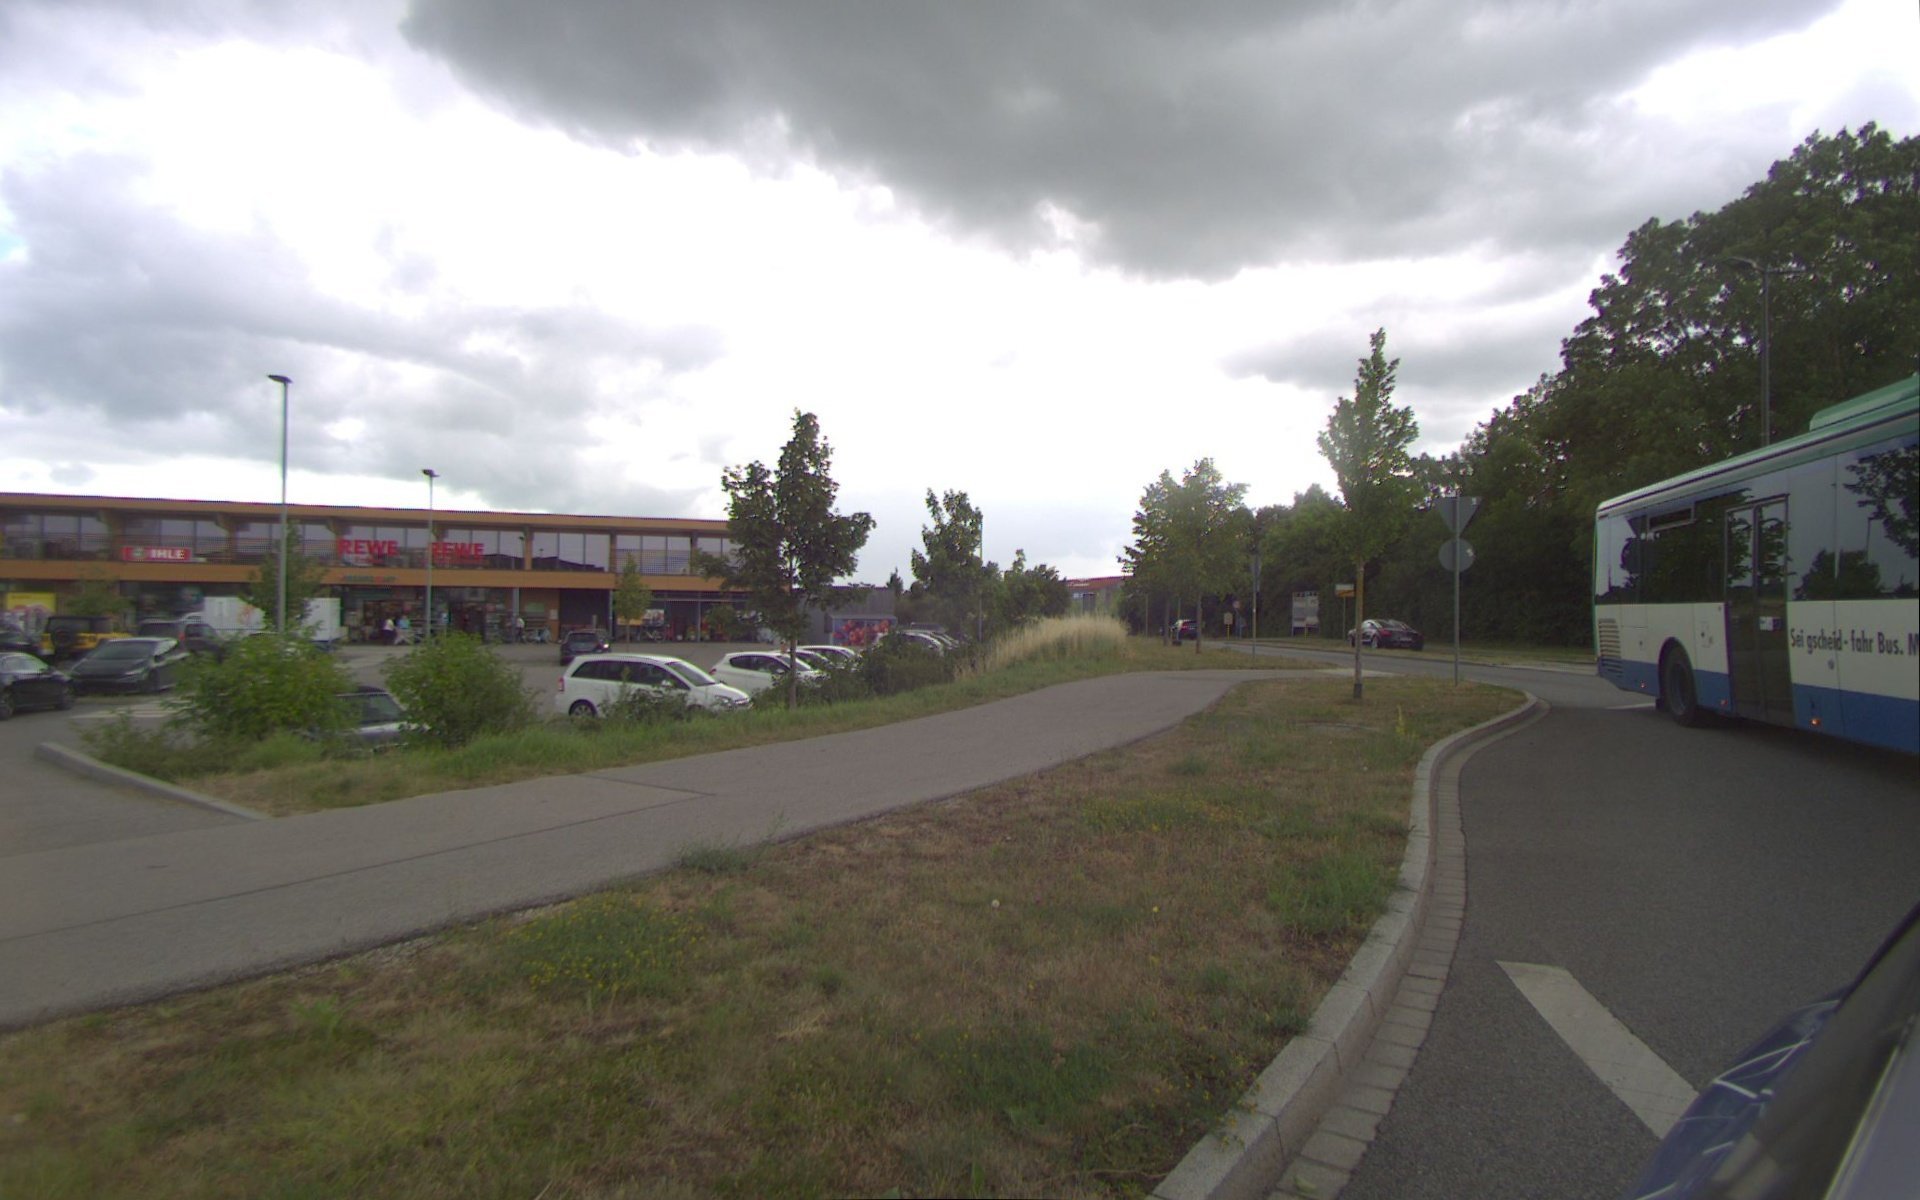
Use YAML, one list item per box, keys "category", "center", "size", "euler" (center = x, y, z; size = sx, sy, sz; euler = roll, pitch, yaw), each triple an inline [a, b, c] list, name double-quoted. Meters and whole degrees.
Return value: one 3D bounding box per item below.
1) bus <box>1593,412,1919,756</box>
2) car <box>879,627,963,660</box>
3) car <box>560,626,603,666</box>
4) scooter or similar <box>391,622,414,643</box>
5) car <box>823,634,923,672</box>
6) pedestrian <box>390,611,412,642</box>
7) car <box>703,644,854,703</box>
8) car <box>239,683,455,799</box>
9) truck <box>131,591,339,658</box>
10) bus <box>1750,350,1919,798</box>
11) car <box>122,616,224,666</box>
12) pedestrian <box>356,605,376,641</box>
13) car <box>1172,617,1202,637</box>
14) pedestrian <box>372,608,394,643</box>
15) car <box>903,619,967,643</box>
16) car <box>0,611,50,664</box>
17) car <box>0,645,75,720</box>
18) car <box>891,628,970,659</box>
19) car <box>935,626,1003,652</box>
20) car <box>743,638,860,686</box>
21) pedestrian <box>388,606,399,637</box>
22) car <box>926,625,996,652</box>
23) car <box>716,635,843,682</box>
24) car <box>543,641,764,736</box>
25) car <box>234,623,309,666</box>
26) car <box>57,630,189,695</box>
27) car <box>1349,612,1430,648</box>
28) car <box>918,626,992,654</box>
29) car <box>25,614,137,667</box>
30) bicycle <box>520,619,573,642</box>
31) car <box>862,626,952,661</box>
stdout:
- category: "bus"
  center: [9.937, -0.208, 12.319]
  size: [2.492, 3.298, 5.429]
  euler: [1, 1, 18]
- category: "car"
  center: [-1.920, 2.127, 49.936]
  size: [3.831, 1.483, 1.690]
  euler: [0, -1, 14]
- category: "car"
  center: [-16.280, 1.951, 43.636]
  size: [1.679, 1.588, 3.677]
  euler: [0, -1, -20]
- category: "scooter or similar"
  center: [-30.649, 1.812, 55.623]
  size: [0.982, 1.141, 0.795]
  euler: [1, -3, -22]
- category: "car"
  center: [-3.640, 2.201, 42.556]
  size: [3.831, 1.483, 1.690]
  euler: [0, -1, 14]
- category: "pedestrian"
  center: [-31.292, 1.488, 56.636]
  size: [0.797, 1.678, 0.743]
  euler: [0, -1, 27]
- category: "car"
  center: [-5.107, 2.066, 28.856]
  size: [3.926, 1.527, 1.999]
  euler: [-1, 0, 2]
- category: "car"
  center: [-9.635, 2.109, 15.835]
  size: [3.708, 1.390, 1.561]
  euler: [-1, -1, 36]
- category: "truck"
  center: [-32.405, 1.077, 45.628]
  size: [7.106, 2.843, 2.982]
  euler: [0, -1, -22]
- category: "bus"
  center: [8.127, -0.170, 6.657]
  size: [2.492, 3.298, 6.511]
  euler: [1, 1, 18]
- category: "car"
  center: [-29.966, 1.510, 38.700]
  size: [1.813, 1.747, 4.128]
  euler: [-1, 0, -19]
- category: "pedestrian"
  center: [-34.309, 1.303, 58.474]
  size: [0.912, 2.039, 0.807]
  euler: [1, -1, -24]
- category: "car"
  center: [18.274, 2.140, 81.622]
  size: [1.613, 1.524, 3.580]
  euler: [0, 0, 1]
- category: "pedestrian"
  center: [-31.525, 1.401, 55.285]
  size: [0.909, 1.923, 0.795]
  euler: [1, -3, -22]
- category: "car"
  center: [-1.563, 1.940, 63.621]
  size: [3.923, 1.462, 1.884]
  euler: [0, -1, -1]
- category: "car"
  center: [-35.854, 1.344, 37.592]
  size: [1.735, 1.878, 4.007]
  euler: [0, 0, -22]
- category: "car"
  center: [-21.462, 1.792, 22.250]
  size: [1.798, 1.416, 4.007]
  euler: [0, 0, -22]
- category: "car"
  center: [-1.528, 2.266, 53.054]
  size: [3.831, 1.483, 1.690]
  euler: [0, -1, 14]
- category: "car"
  center: [0.553, 2.312, 60.360]
  size: [3.831, 1.483, 1.690]
  euler: [0, -1, 14]
- category: "car"
  center: [-5.397, 2.120, 34.632]
  size: [3.617, 1.310, 1.412]
  euler: [-4, 1, 11]
- category: "pedestrian"
  center: [-37.113, 1.412, 66.269]
  size: [0.567, 1.973, 0.526]
  euler: [1, -1, -26]
- category: "car"
  center: [0.070, 2.214, 58.742]
  size: [3.831, 1.483, 1.690]
  euler: [0, -1, 14]
- category: "car"
  center: [-5.483, 1.779, 31.041]
  size: [3.606, 1.311, 1.716]
  euler: [-1, 0, 0]
- category: "car"
  center: [-6.794, 1.911, 22.616]
  size: [4.372, 1.694, 1.796]
  euler: [3, 1, 9]
- category: "car"
  center: [-27.259, 1.718, 40.186]
  size: [1.695, 1.549, 4.007]
  euler: [1, 0, -23]
- category: "car"
  center: [-23.038, 1.663, 28.019]
  size: [1.695, 1.573, 4.007]
  euler: [1, -1, -23]
- category: "car"
  center: [17.593, 1.191, 41.675]
  size: [1.798, 1.324, 4.110]
  euler: [1, 0, 4]
- category: "car"
  center: [-0.271, 2.202, 56.507]
  size: [3.831, 1.483, 1.690]
  euler: [0, -1, 14]
- category: "car"
  center: [-33.263, 1.481, 38.440]
  size: [1.735, 1.878, 4.008]
  euler: [0, -1, -18]
- category: "bicycle"
  center: [-24.307, 1.781, 59.517]
  size: [2.809, 1.326, 0.981]
  euler: [0, -1, -19]
- category: "car"
  center: [-2.442, 1.994, 46.868]
  size: [3.831, 1.483, 1.690]
  euler: [0, -1, 14]
